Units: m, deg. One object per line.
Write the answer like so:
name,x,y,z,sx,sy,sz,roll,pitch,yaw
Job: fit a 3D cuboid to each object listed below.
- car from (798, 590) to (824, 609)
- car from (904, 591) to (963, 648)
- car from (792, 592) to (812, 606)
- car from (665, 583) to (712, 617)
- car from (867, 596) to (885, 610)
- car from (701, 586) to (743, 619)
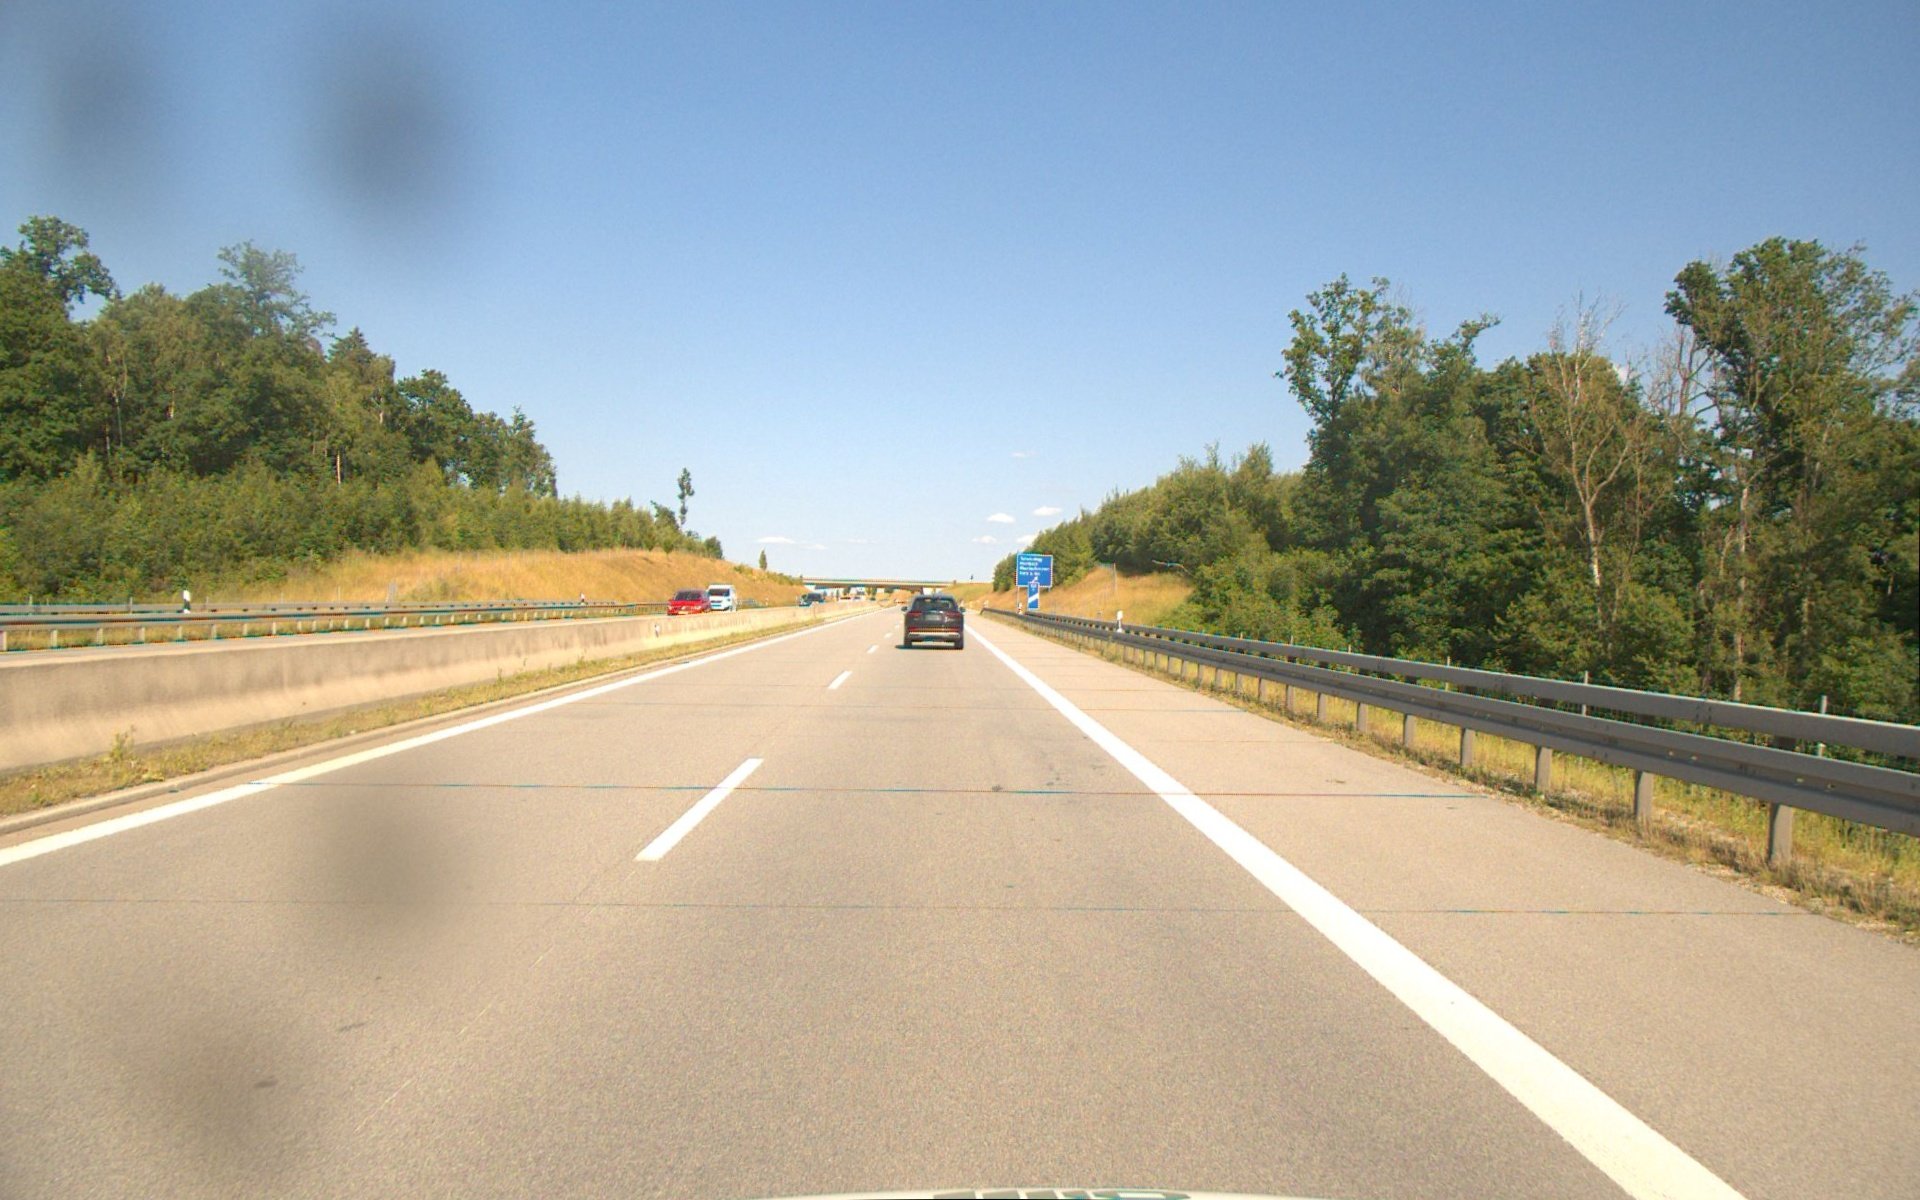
car,-13.355,-0.058,148.166,1.953,1.609,4.648,1,0,-1
car,-0.793,0.550,50.361,1.687,1.615,5.221,1,0,-1
car,-18.415,-0.100,192.762,1.953,1.609,4.648,1,0,-1
car,-13.899,-0.027,84.986,1.633,1.673,4.888,1,0,-1
car,-9.818,0.298,194.001,1.953,1.609,4.648,1,0,-1
car,-15.848,0.152,110.366,1.953,2.119,6.226,1,0,-1
